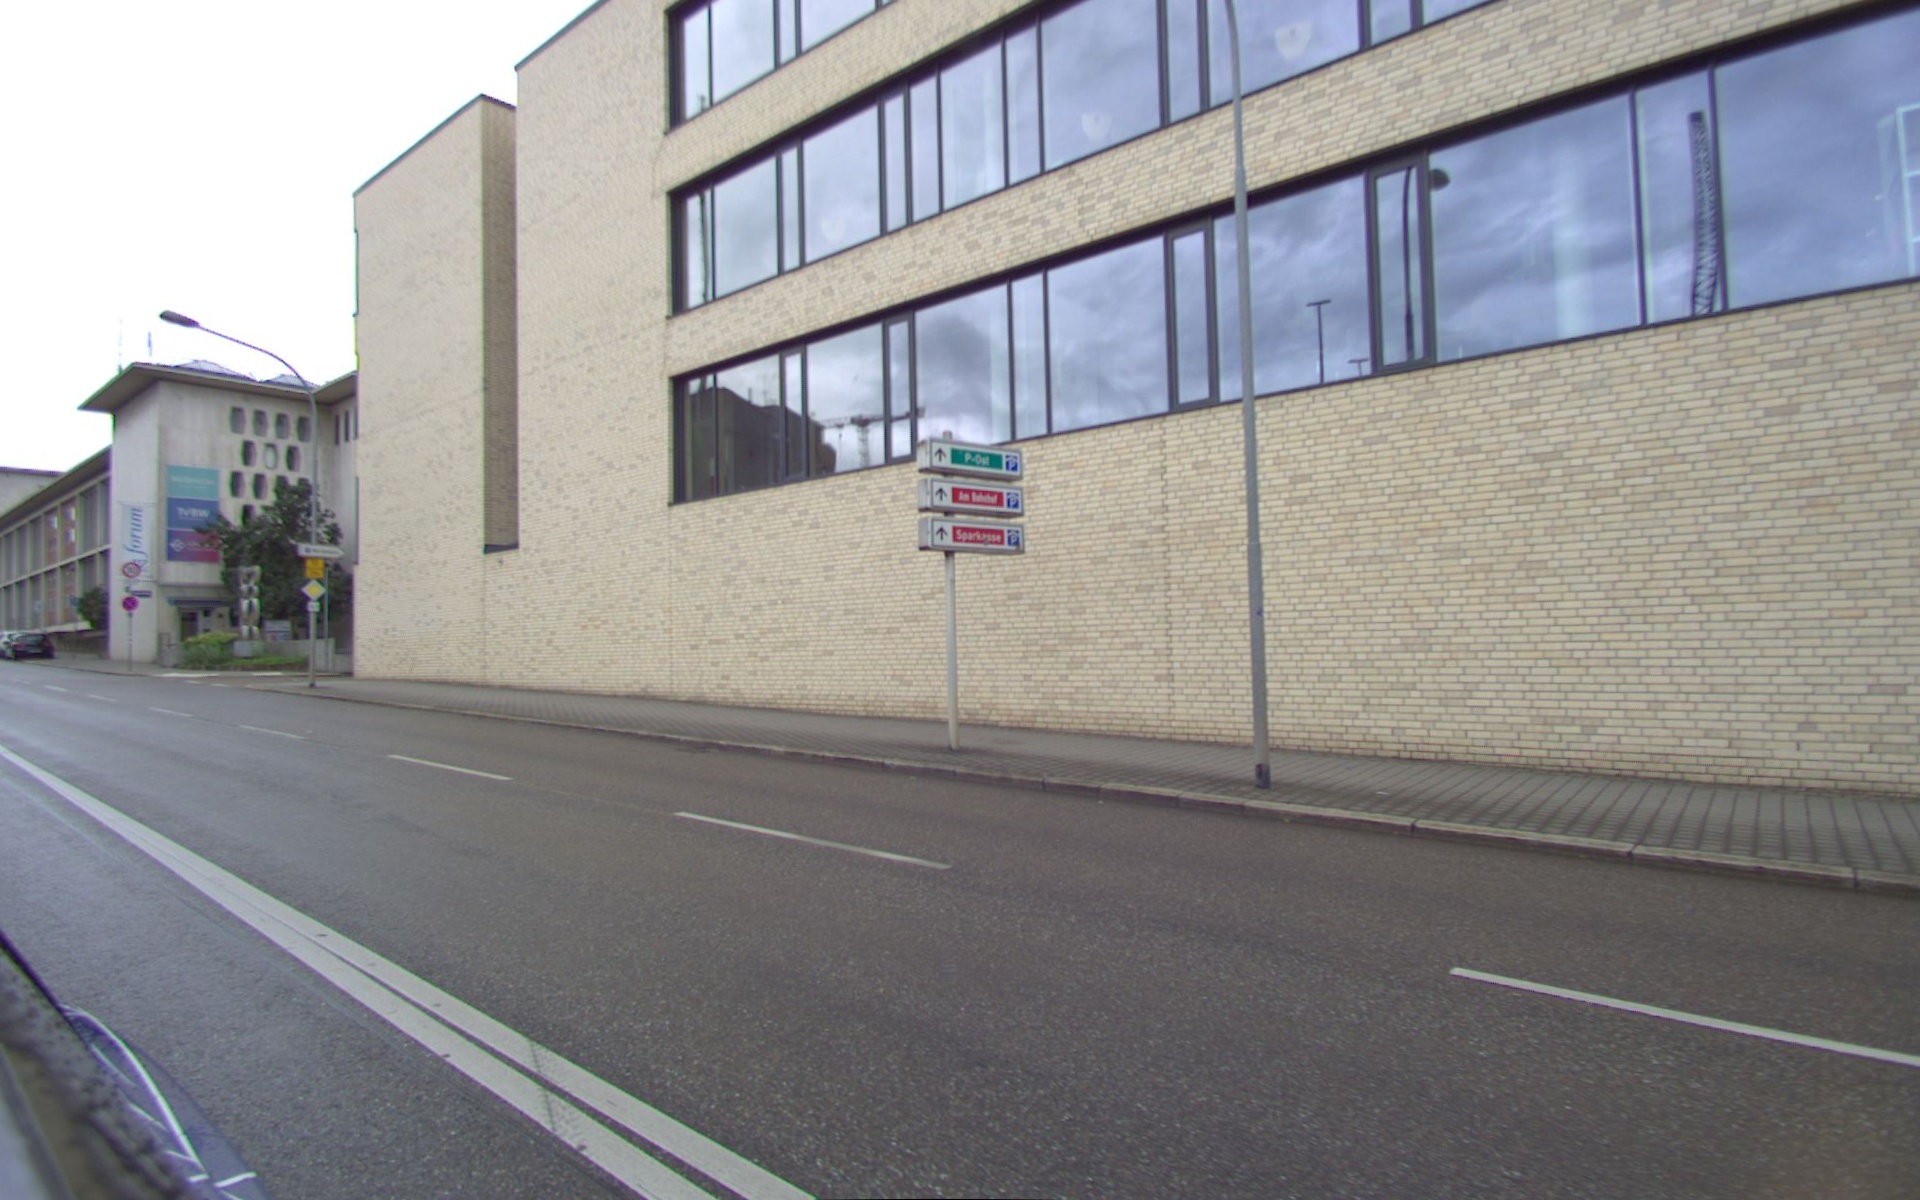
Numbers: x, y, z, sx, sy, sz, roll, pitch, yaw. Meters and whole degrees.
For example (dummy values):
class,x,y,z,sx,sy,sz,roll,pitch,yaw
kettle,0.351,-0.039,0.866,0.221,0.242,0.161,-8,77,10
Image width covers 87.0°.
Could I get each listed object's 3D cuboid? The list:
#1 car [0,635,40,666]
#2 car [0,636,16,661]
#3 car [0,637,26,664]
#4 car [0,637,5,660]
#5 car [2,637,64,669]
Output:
class,x,y,z,sx,sy,sz,roll,pitch,yaw
car,-55.498,2.917,59.228,3.997,1.654,1.973,-1,0,40
car,-63.233,3.171,65.971,4.183,1.502,1.973,-1,0,41
car,-59.461,3.119,62.677,3.998,1.523,1.973,-1,0,41
car,-67.831,3.382,70.068,3.996,1.541,1.974,-1,-1,39
car,-50.958,2.876,55.629,3.996,1.541,1.974,-1,0,39
